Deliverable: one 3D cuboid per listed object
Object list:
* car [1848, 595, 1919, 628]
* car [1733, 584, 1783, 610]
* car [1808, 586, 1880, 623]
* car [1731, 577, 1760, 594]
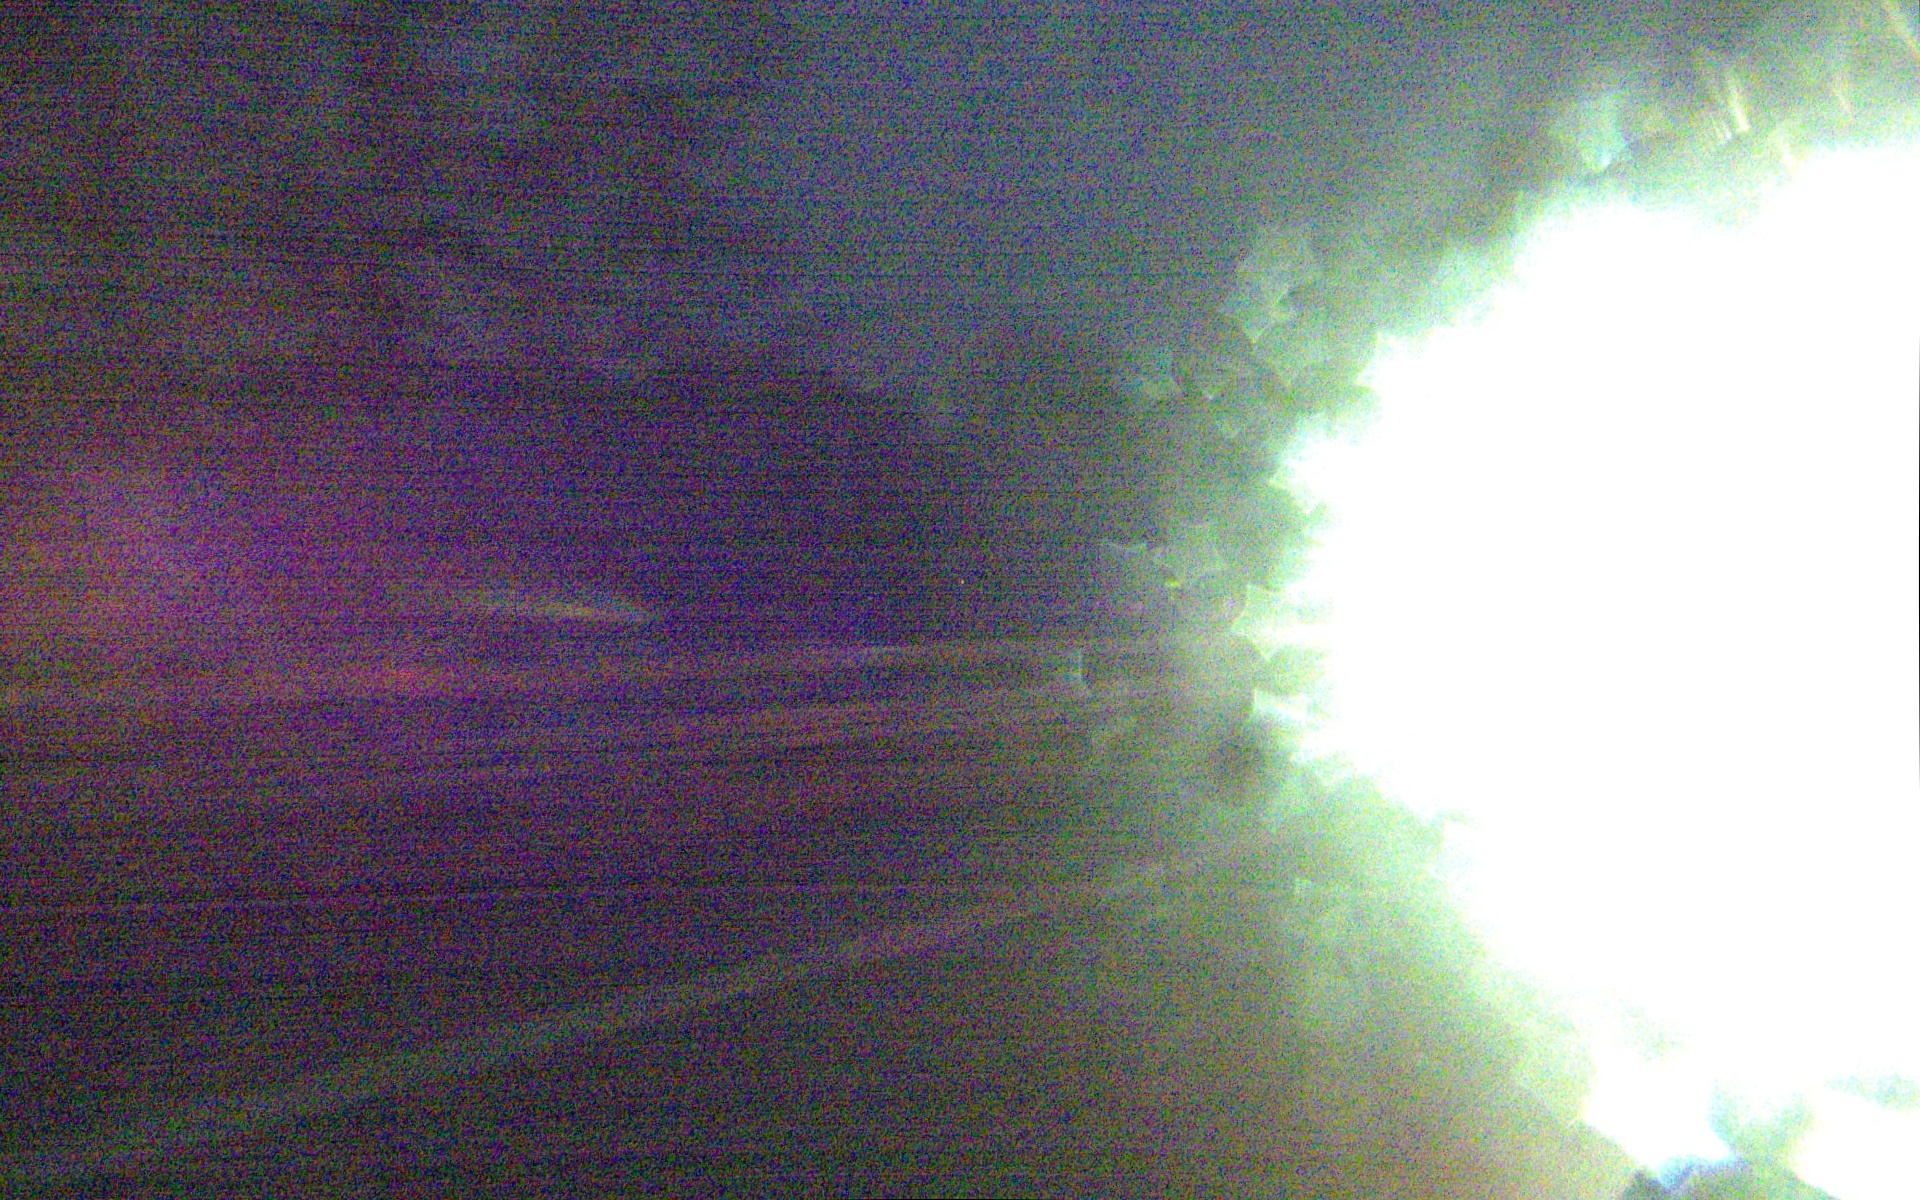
[{"bbox_3d":[49.496,0.588,54.268,1.984,1.580,4.538,-1,1,31],"label":"car"},{"bbox_3d":[48.037,-0.182,60.949,1.798,1.505,3.546,-1,0,29],"label":"car"},{"bbox_3d":[38.104,0.171,43.698,1.801,1.505,3.540,-1,0,33],"label":"car"},{"bbox_3d":[86.451,-1.635,111.432,1.984,1.830,3.956,-1,0,31],"label":"car"}]
